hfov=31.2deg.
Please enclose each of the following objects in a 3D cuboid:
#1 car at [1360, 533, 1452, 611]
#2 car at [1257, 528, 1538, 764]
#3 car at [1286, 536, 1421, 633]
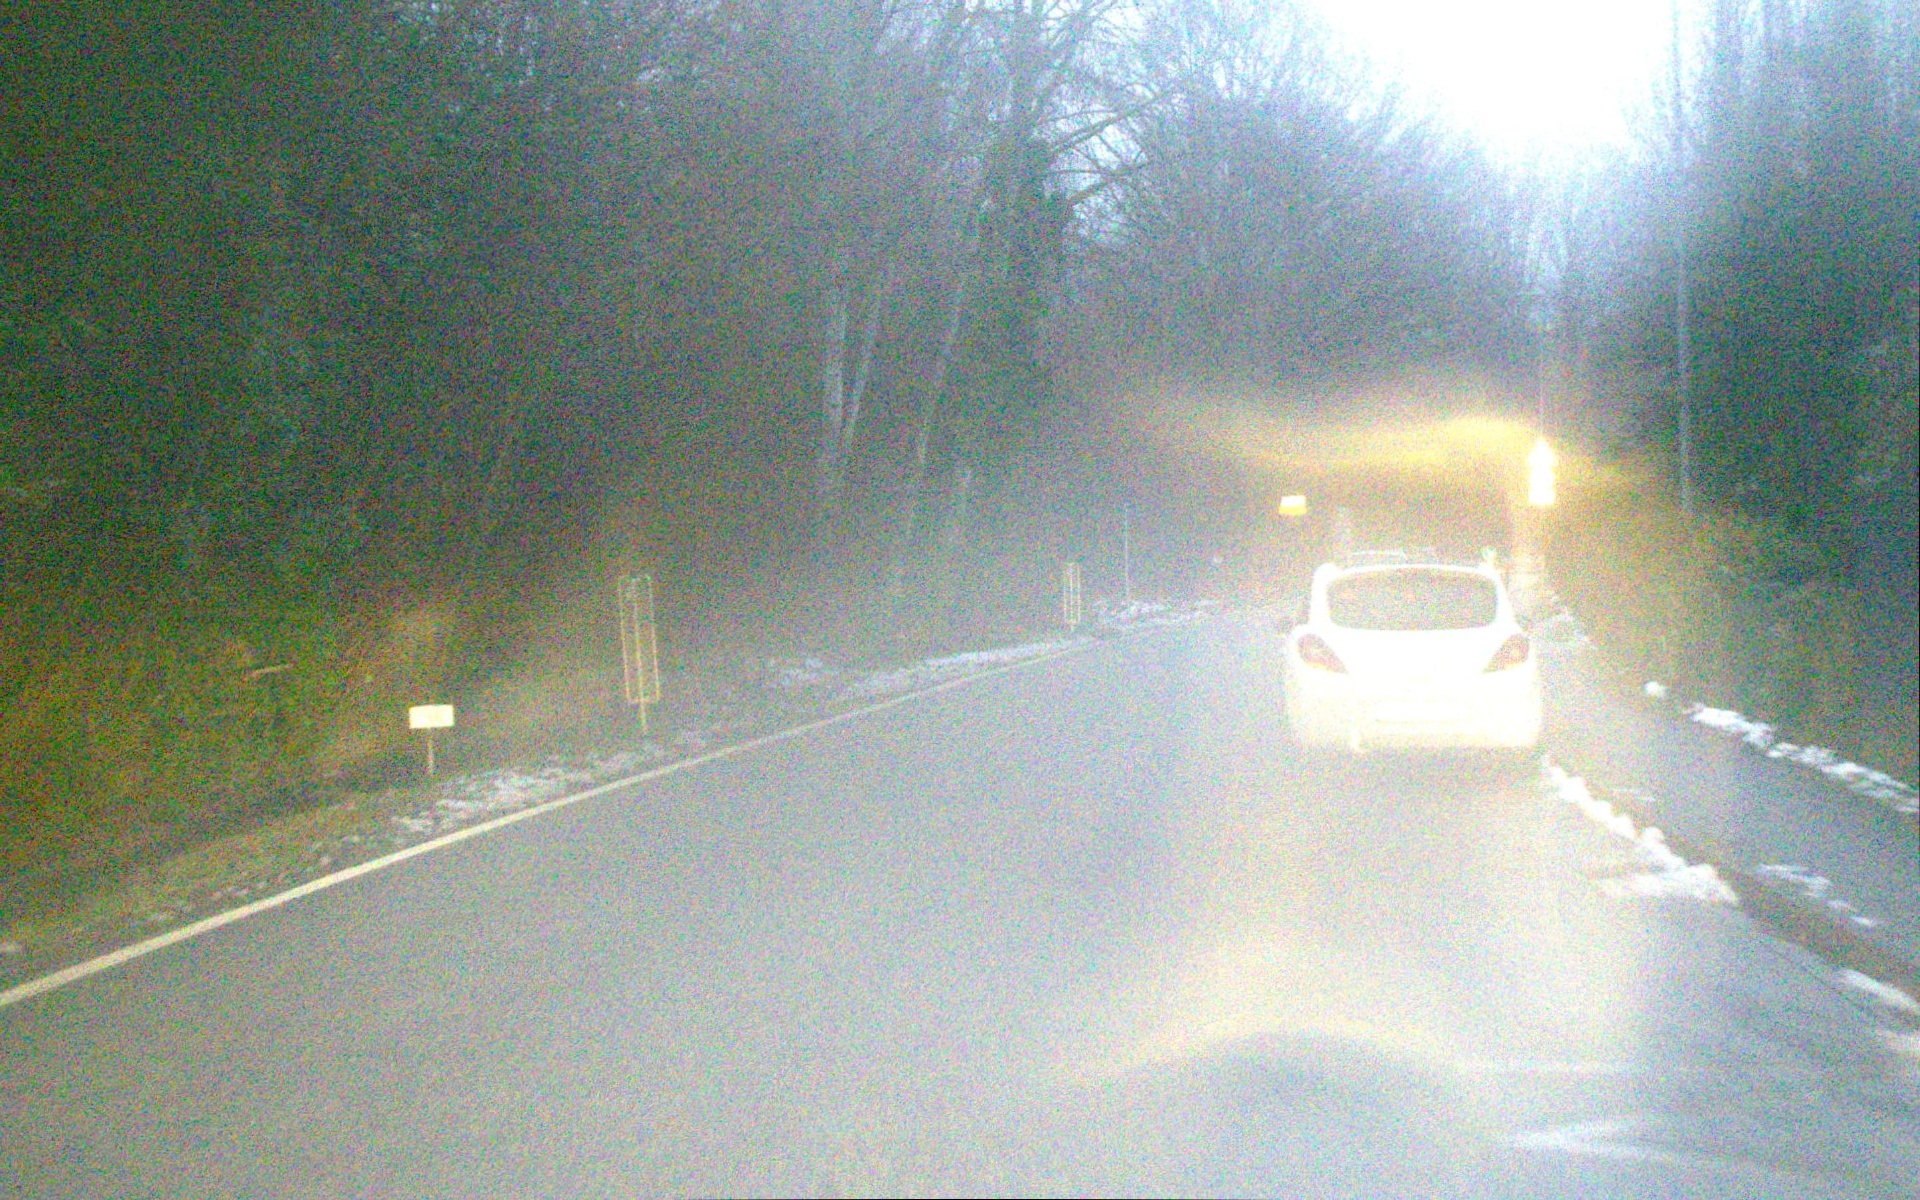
[{"bbox_3d":[10.703,-0.687,82.359,1.691,1.768,3.858,-1,1,14],"label":"car"},{"bbox_3d":[2.968,0.276,23.997,1.704,1.501,4.024,0,0,4],"label":"car"},{"bbox_3d":[7.682,-0.319,66.807,1.934,1.775,3.997,-1,1,16],"label":"car"}]
